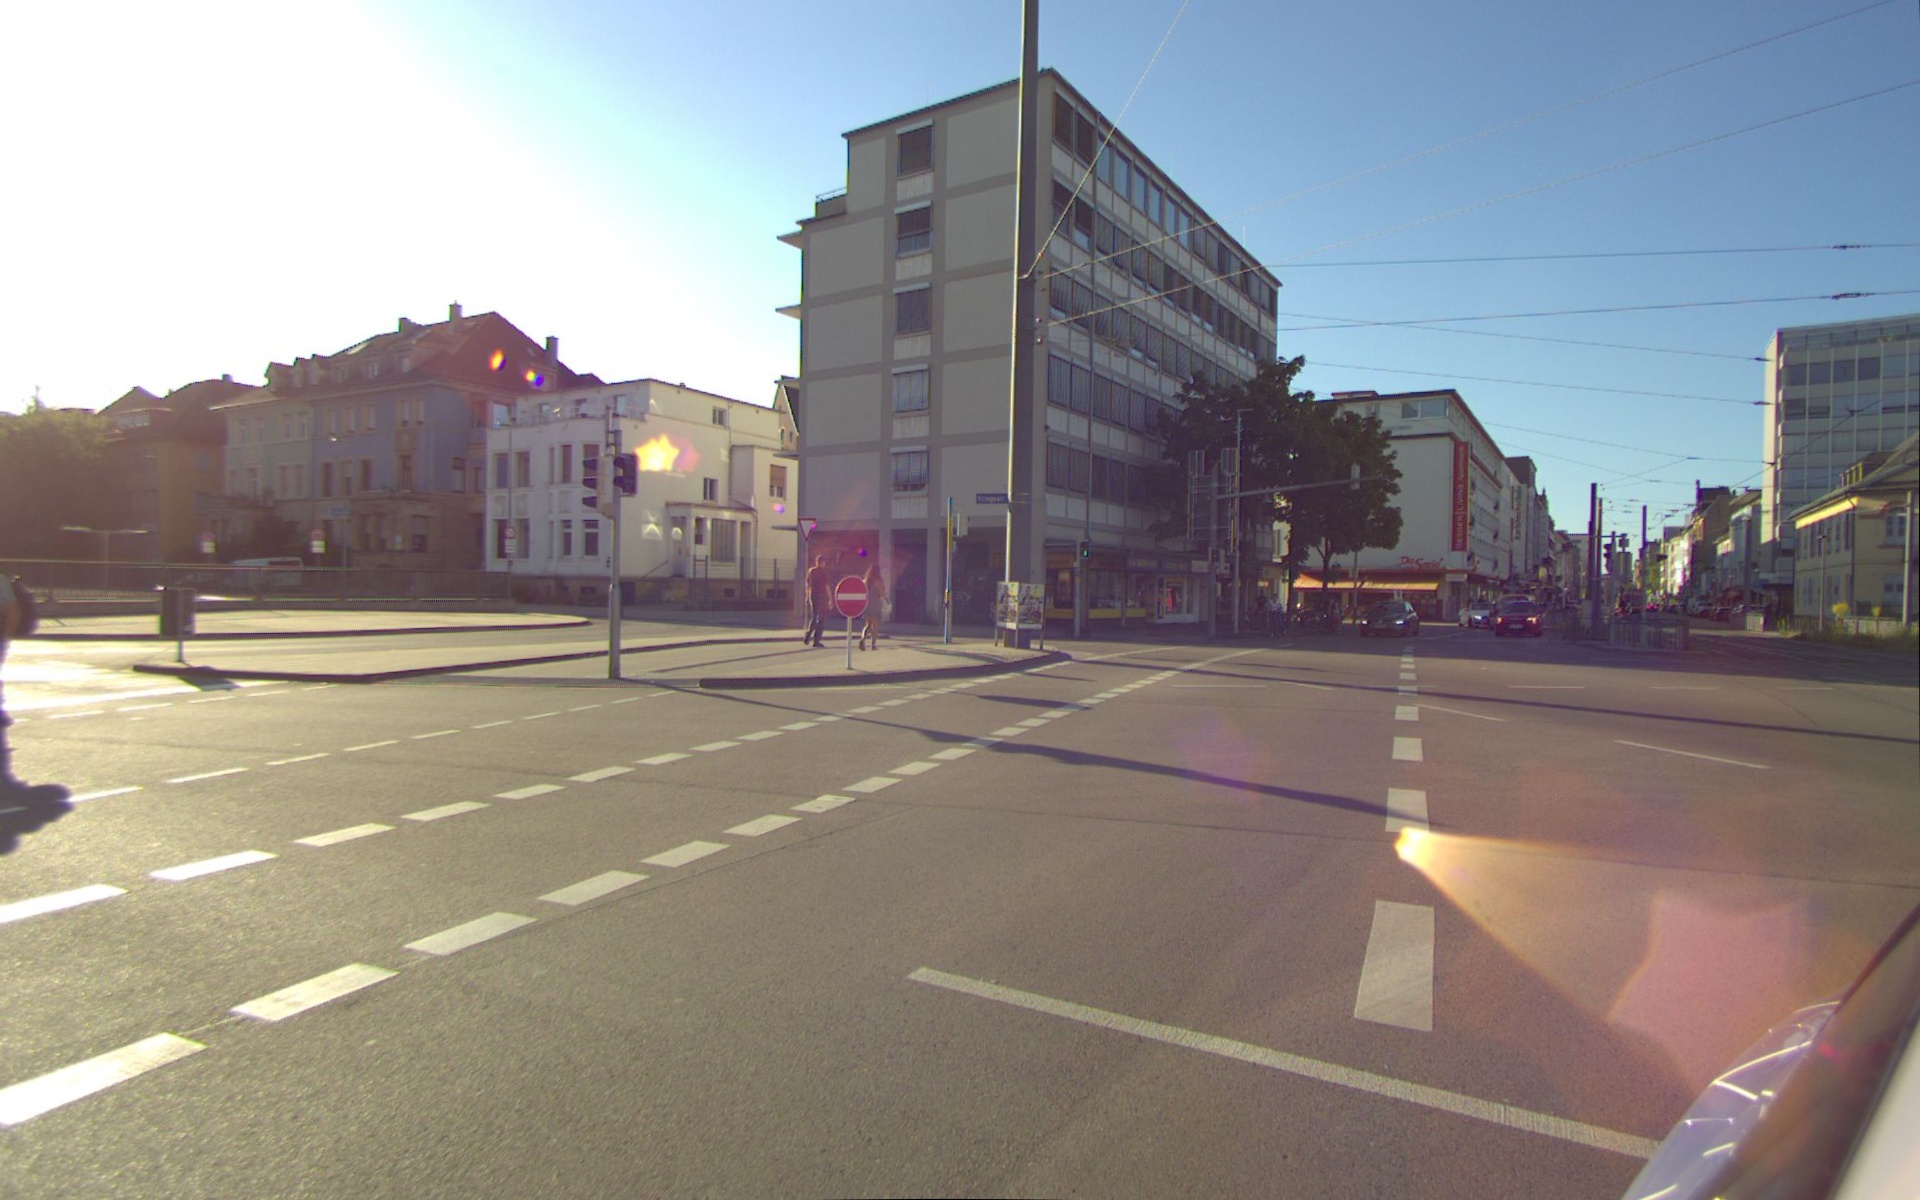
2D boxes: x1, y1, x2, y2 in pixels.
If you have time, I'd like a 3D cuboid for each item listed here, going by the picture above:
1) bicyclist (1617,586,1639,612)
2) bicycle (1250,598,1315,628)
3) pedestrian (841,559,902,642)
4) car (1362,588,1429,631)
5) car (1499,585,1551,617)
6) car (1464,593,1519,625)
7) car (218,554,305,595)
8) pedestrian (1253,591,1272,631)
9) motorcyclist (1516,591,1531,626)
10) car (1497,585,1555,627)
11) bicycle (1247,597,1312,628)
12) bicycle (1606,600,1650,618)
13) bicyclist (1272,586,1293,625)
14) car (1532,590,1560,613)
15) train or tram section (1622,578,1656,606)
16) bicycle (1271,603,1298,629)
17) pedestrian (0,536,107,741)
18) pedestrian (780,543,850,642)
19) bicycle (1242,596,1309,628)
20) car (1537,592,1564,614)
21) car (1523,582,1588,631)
[{"bbox_3d":[37.679,-0.052,57.090,0.888,1.476,0.718,1,-1,25],"label":"bicyclist"},{"bbox_3d":[14.240,0.560,44.678,2.611,1.158,0.746,4,0,23],"label":"bicycle"},{"bbox_3d":[-1.609,0.006,18.387,0.847,1.472,0.701,1,-1,24],"label":"pedestrian"},{"bbox_3d":[17.607,0.396,40.841,1.831,1.638,4.032,1,-1,33],"label":"car"},{"bbox_3d":[35.284,0.066,63.183,1.897,1.866,4.555,0,-1,42],"label":"car"},{"bbox_3d":[28.591,0.507,54.532,1.818,1.638,3.979,1,-1,16],"label":"car"},{"bbox_3d":[-39.901,-1.443,57.823,4.793,2.200,2.268,1,-1,31],"label":"car"},{"bbox_3d":[15.607,0.562,52.192,0.711,2.039,0.619,0,-1,38],"label":"pedestrian"},{"bbox_3d":[25.196,0.380,45.257,0.531,1.528,0.456,0,-1,33],"label":"motorcyclist"},{"bbox_3d":[23.442,0.258,41.867,1.831,1.638,3.952,1,-1,33],"label":"car"},{"bbox_3d":[13.805,0.541,43.743,2.611,1.158,0.746,4,0,23],"label":"bicycle"},{"bbox_3d":[37.652,0.526,57.076,1.970,0.960,0.718,1,-1,25],"label":"bicycle"},{"bbox_3d":[12.306,0.209,38.641,0.665,1.442,0.675,1,-1,28],"label":"bicyclist"},{"bbox_3d":[55.488,0.166,95.790,1.987,2.039,4.811,1,-1,35],"label":"car"},{"bbox_3d":[99.038,-1.145,147.822,3.688,3.882,13.205,1,1,32],"label":"train or tram section"},{"bbox_3d":[12.534,0.614,39.036,0.664,0.952,2.011,1,-1,27],"label":"bicycle"},{"bbox_3d":[-8.526,0.323,8.973,0.847,1.753,1.188,1,-1,24],"label":"pedestrian"},{"bbox_3d":[-2.891,-0.141,20.289,0.847,1.908,1.188,1,-1,24],"label":"pedestrian"},{"bbox_3d":[13.287,0.509,42.672,2.611,1.158,0.746,4,0,23],"label":"bicycle"},{"bbox_3d":[58.394,0.275,100.026,1.987,2.039,4.811,1,-1,35],"label":"car"},{"bbox_3d":[21.278,0.258,36.108,1.831,1.638,3.952,1,-1,33],"label":"car"}]
